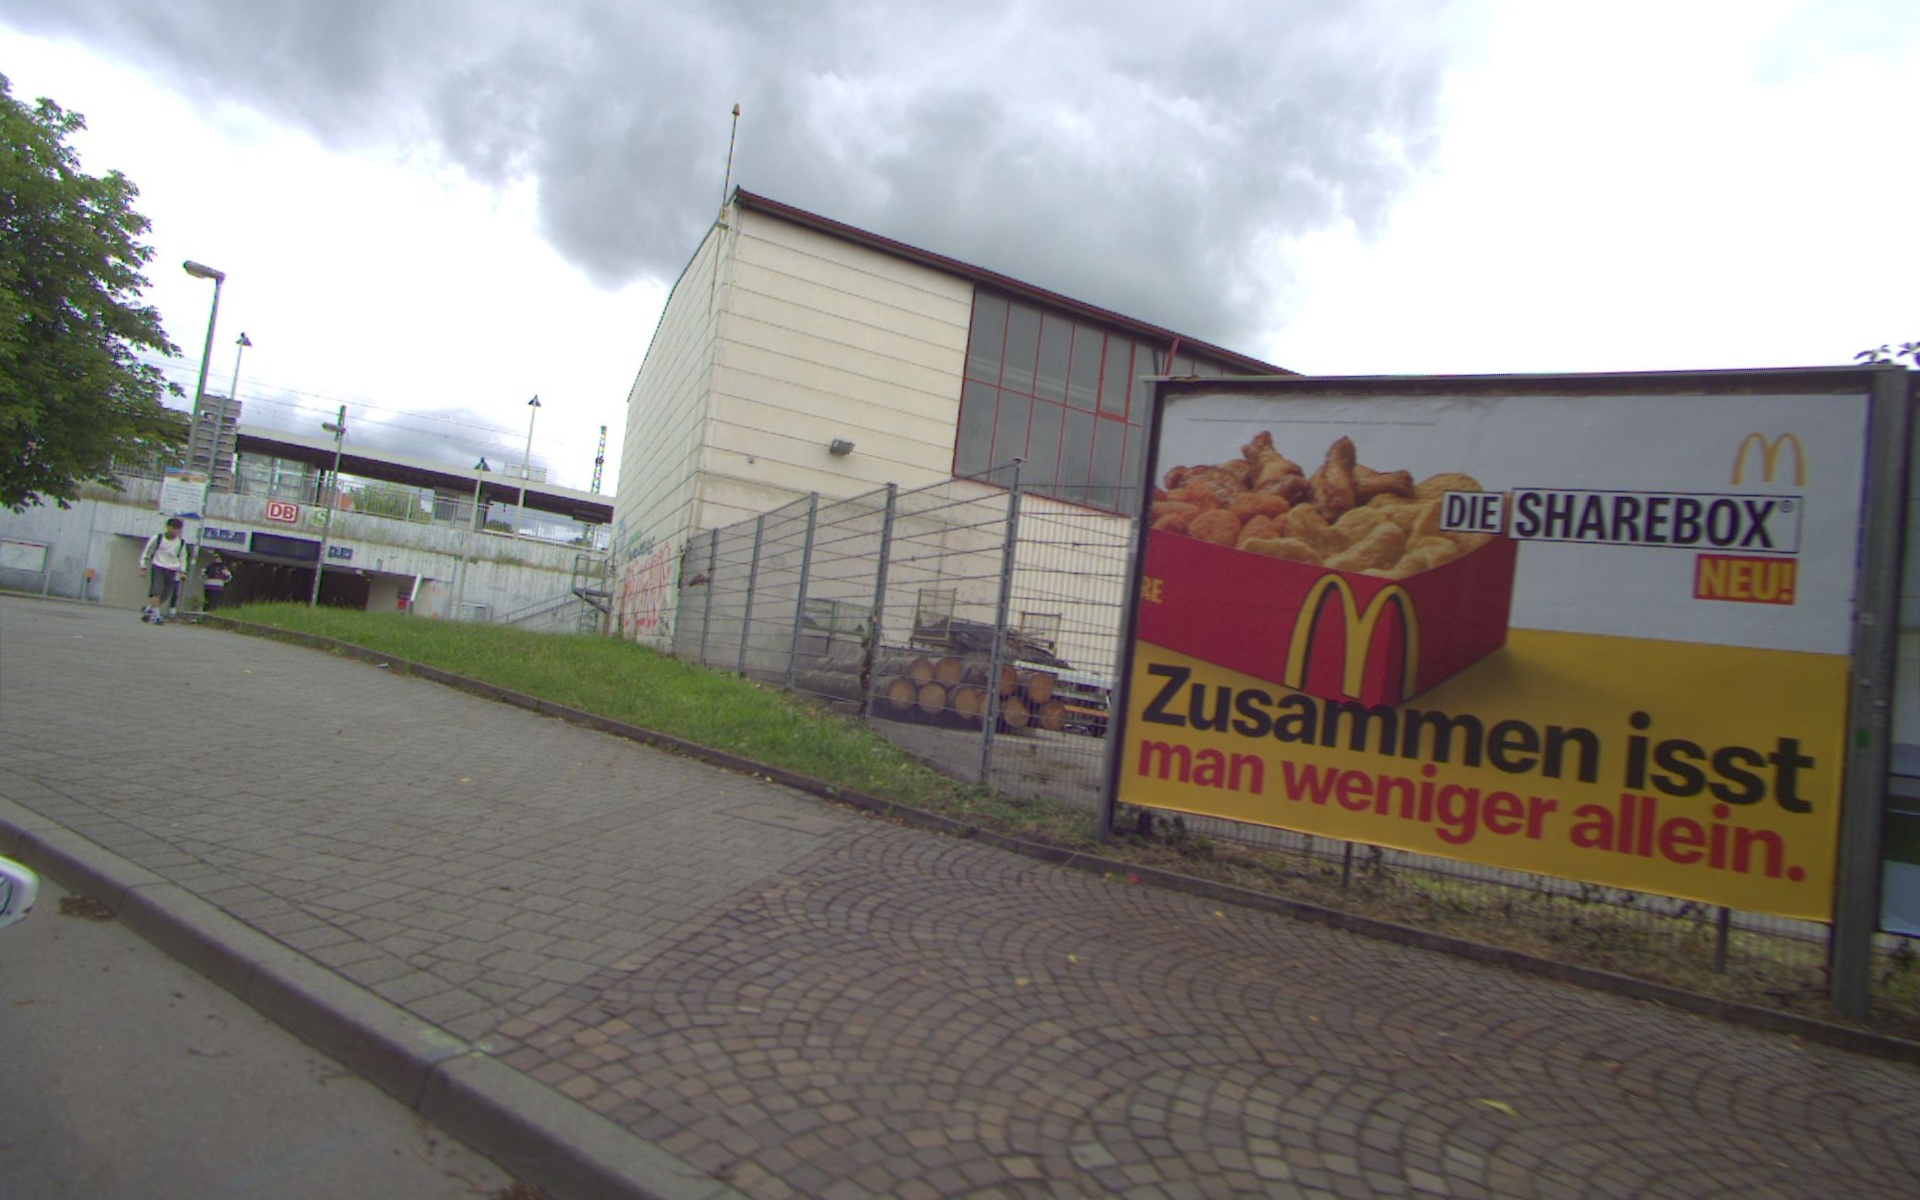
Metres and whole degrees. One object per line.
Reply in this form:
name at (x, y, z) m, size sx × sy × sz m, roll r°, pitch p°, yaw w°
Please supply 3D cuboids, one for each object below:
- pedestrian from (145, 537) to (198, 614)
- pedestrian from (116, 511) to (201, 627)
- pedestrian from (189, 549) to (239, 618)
pedestrian at (-19.041, -0.589, 24.304) m, size 0.811 × 1.721 × 0.741 m, roll 9°, pitch -4°, yaw -38°
pedestrian at (-12.848, -0.478, 16.119) m, size 0.845 × 1.702 × 0.929 m, roll 8°, pitch -4°, yaw -42°
pedestrian at (-18.817, -0.408, 25.368) m, size 0.796 × 1.600 × 0.794 m, roll 9°, pitch -4°, yaw -38°
